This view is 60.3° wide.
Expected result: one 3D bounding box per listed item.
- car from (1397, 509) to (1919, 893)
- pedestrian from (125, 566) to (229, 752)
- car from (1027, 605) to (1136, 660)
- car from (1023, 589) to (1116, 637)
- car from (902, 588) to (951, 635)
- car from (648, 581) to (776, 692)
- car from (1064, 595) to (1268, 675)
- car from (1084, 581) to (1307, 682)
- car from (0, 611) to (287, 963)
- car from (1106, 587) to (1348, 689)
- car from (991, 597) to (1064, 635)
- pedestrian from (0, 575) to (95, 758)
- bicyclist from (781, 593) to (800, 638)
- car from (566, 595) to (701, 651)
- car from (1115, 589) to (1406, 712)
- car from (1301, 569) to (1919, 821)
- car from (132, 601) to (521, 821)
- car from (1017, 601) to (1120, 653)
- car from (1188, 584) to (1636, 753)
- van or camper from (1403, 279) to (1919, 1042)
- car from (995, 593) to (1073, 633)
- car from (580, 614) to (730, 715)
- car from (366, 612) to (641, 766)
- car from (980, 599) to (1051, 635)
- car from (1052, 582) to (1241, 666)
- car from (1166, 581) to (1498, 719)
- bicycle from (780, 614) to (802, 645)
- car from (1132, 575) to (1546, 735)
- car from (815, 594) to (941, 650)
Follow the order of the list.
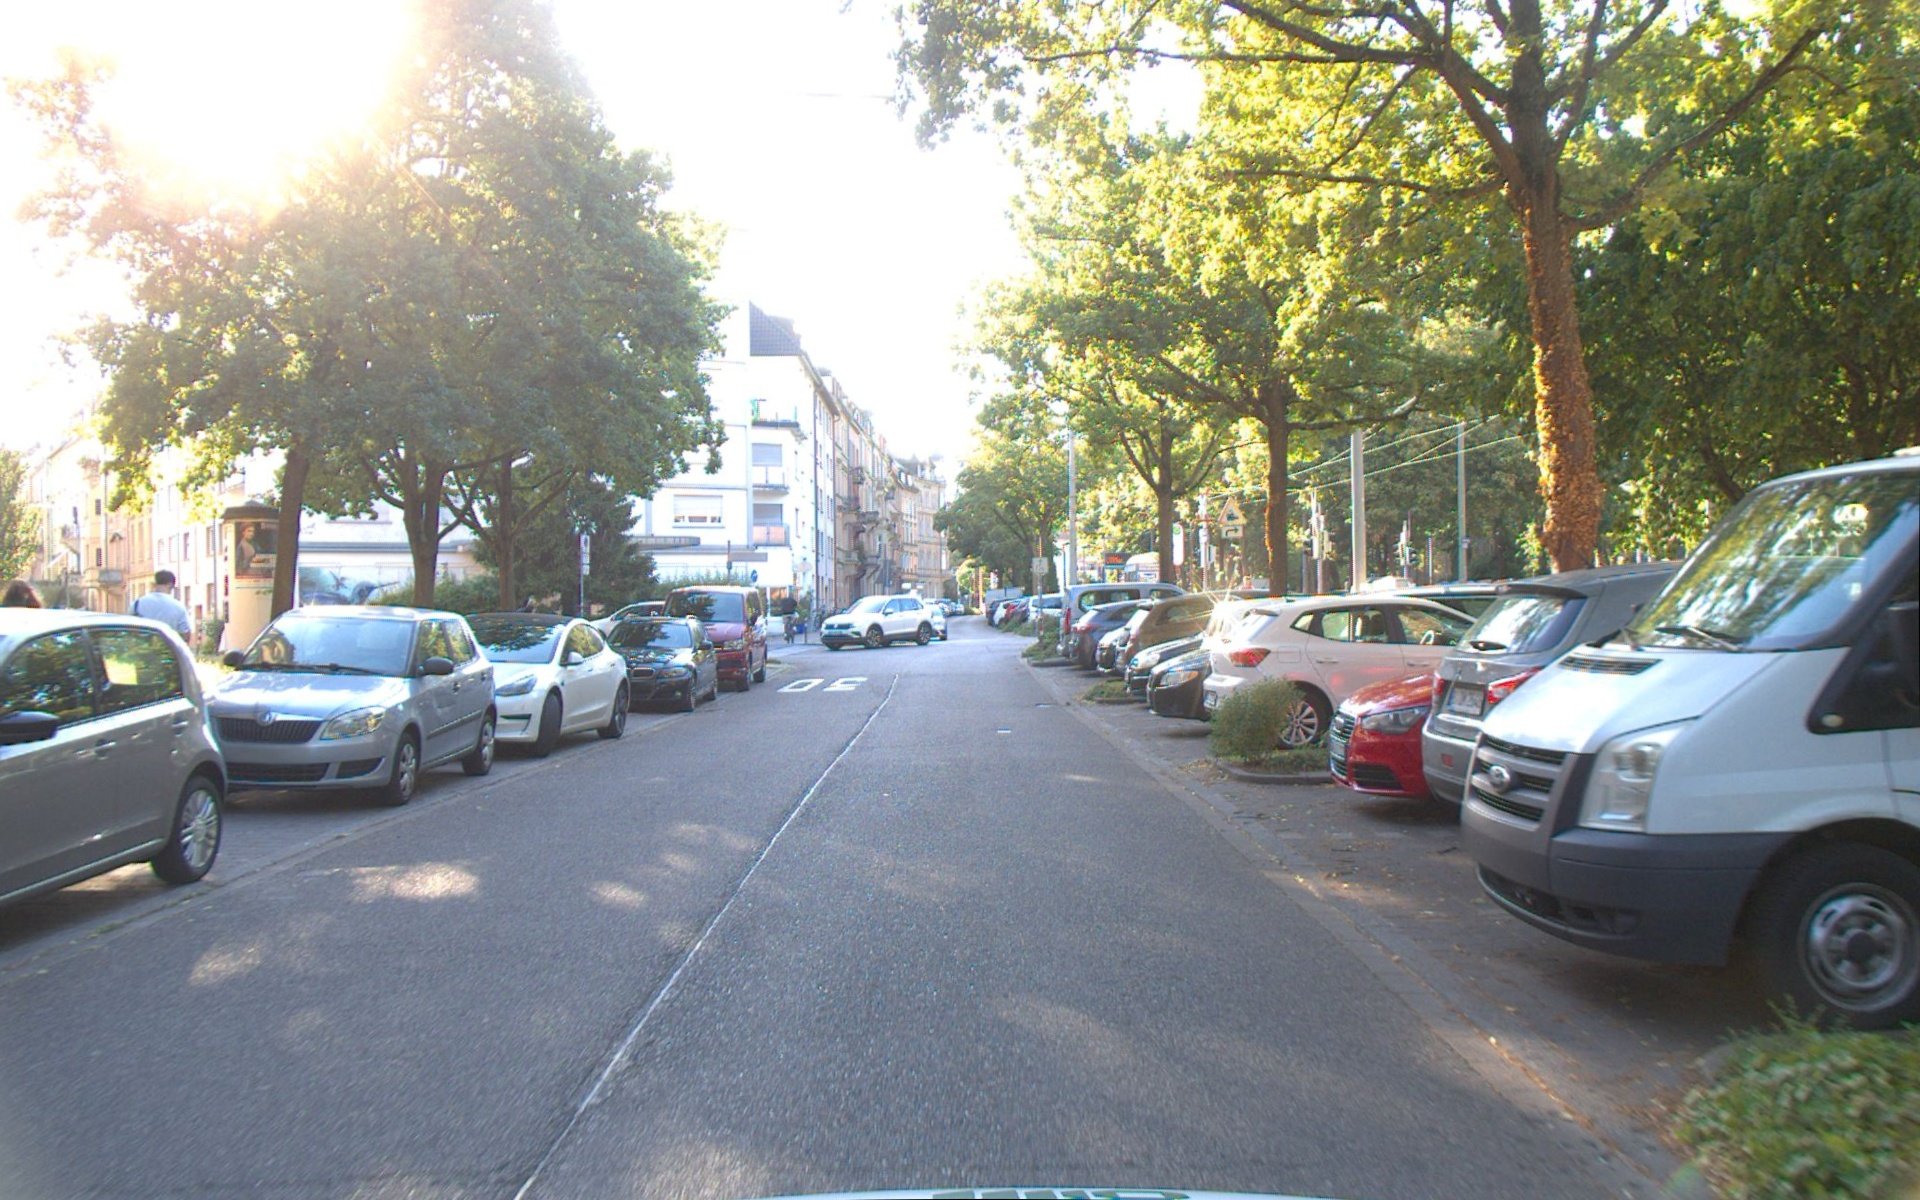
[{"bbox_3d":[4.589,0.485,9.004,3.907,1.849,1.858,0,0,-3],"label":"car"},{"bbox_3d":[-7.375,0.539,15.609,0.585,1.697,0.708,-1,2,-1],"label":"pedestrian"},{"bbox_3d":[4.626,1.237,62.650,3.901,2.049,2.001,0,-2,11],"label":"car"},{"bbox_3d":[4.889,0.598,73.754,3.901,2.049,2.001,0,-2,11],"label":"car"},{"bbox_3d":[-1.399,0.512,68.647,1.953,1.870,3.998,0,-2,-1],"label":"car"},{"bbox_3d":[-4.821,0.670,32.682,1.917,2.053,4.267,0,0,-1],"label":"car"},{"bbox_3d":[4.191,0.727,34.042,3.907,1.591,1.858,0,-2,-3],"label":"car"},{"bbox_3d":[4.406,0.597,31.371,3.907,1.857,1.858,0,-2,-3],"label":"car"},{"bbox_3d":[-4.912,0.811,7.956,1.668,1.454,3.878,1,0,1],"label":"car"},{"bbox_3d":[4.627,0.677,29.074,3.907,1.729,1.858,0,-2,-3],"label":"car"},{"bbox_3d":[3.870,0.927,94.199,3.901,2.049,2.001,0,-2,11],"label":"car"},{"bbox_3d":[-8.286,0.579,14.871,0.585,1.577,0.708,-1,2,-1],"label":"pedestrian"},{"bbox_3d":[-6.067,0.560,59.241,0.615,1.601,0.802,0,-2,-1],"label":"bicyclist"},{"bbox_3d":[-10.430,0.753,53.021,3.905,1.736,2.000,0,-2,1],"label":"car"},{"bbox_3d":[4.354,0.736,24.410,3.907,1.729,1.858,0,-2,-3],"label":"car"},{"bbox_3d":[4.515,0.619,11.375,3.907,1.575,1.858,0,-2,-3],"label":"car"},{"bbox_3d":[-5.029,0.785,13.775,1.721,1.542,4.160,0,0,-1],"label":"car"},{"bbox_3d":[4.352,1.109,66.191,3.901,2.049,2.001,0,-2,11],"label":"car"},{"bbox_3d":[4.376,0.661,16.430,3.907,1.575,1.858,0,-2,-3],"label":"car"},{"bbox_3d":[4.472,0.213,6.440,4.881,2.419,2.184,0,-2,-2],"label":"van or camper"},{"bbox_3d":[3.921,0.720,87.343,3.901,2.049,2.001,0,-2,11],"label":"car"},{"bbox_3d":[-4.910,0.987,27.145,1.720,1.491,4.267,0,0,-1],"label":"car"},{"bbox_3d":[-4.931,0.899,18.488,1.720,1.491,4.269,0,0,3],"label":"car"},{"bbox_3d":[3.281,1.035,97.726,3.901,2.049,2.001,0,-2,11],"label":"car"},{"bbox_3d":[4.093,0.541,36.716,3.907,1.825,1.858,0,-2,-3],"label":"car"},{"bbox_3d":[4.810,0.655,21.761,3.907,1.729,1.858,0,-2,-3],"label":"car"},{"bbox_3d":[-6.060,1.069,59.331,0.628,1.119,1.943,0,-2,-1],"label":"bicycle"},{"bbox_3d":[4.258,0.624,19.046,4.302,1.729,1.858,0,-2,-3],"label":"car"},{"bbox_3d":[-2.577,0.680,53.053,1.747,1.703,4.474,0,0,33],"label":"car"}]
